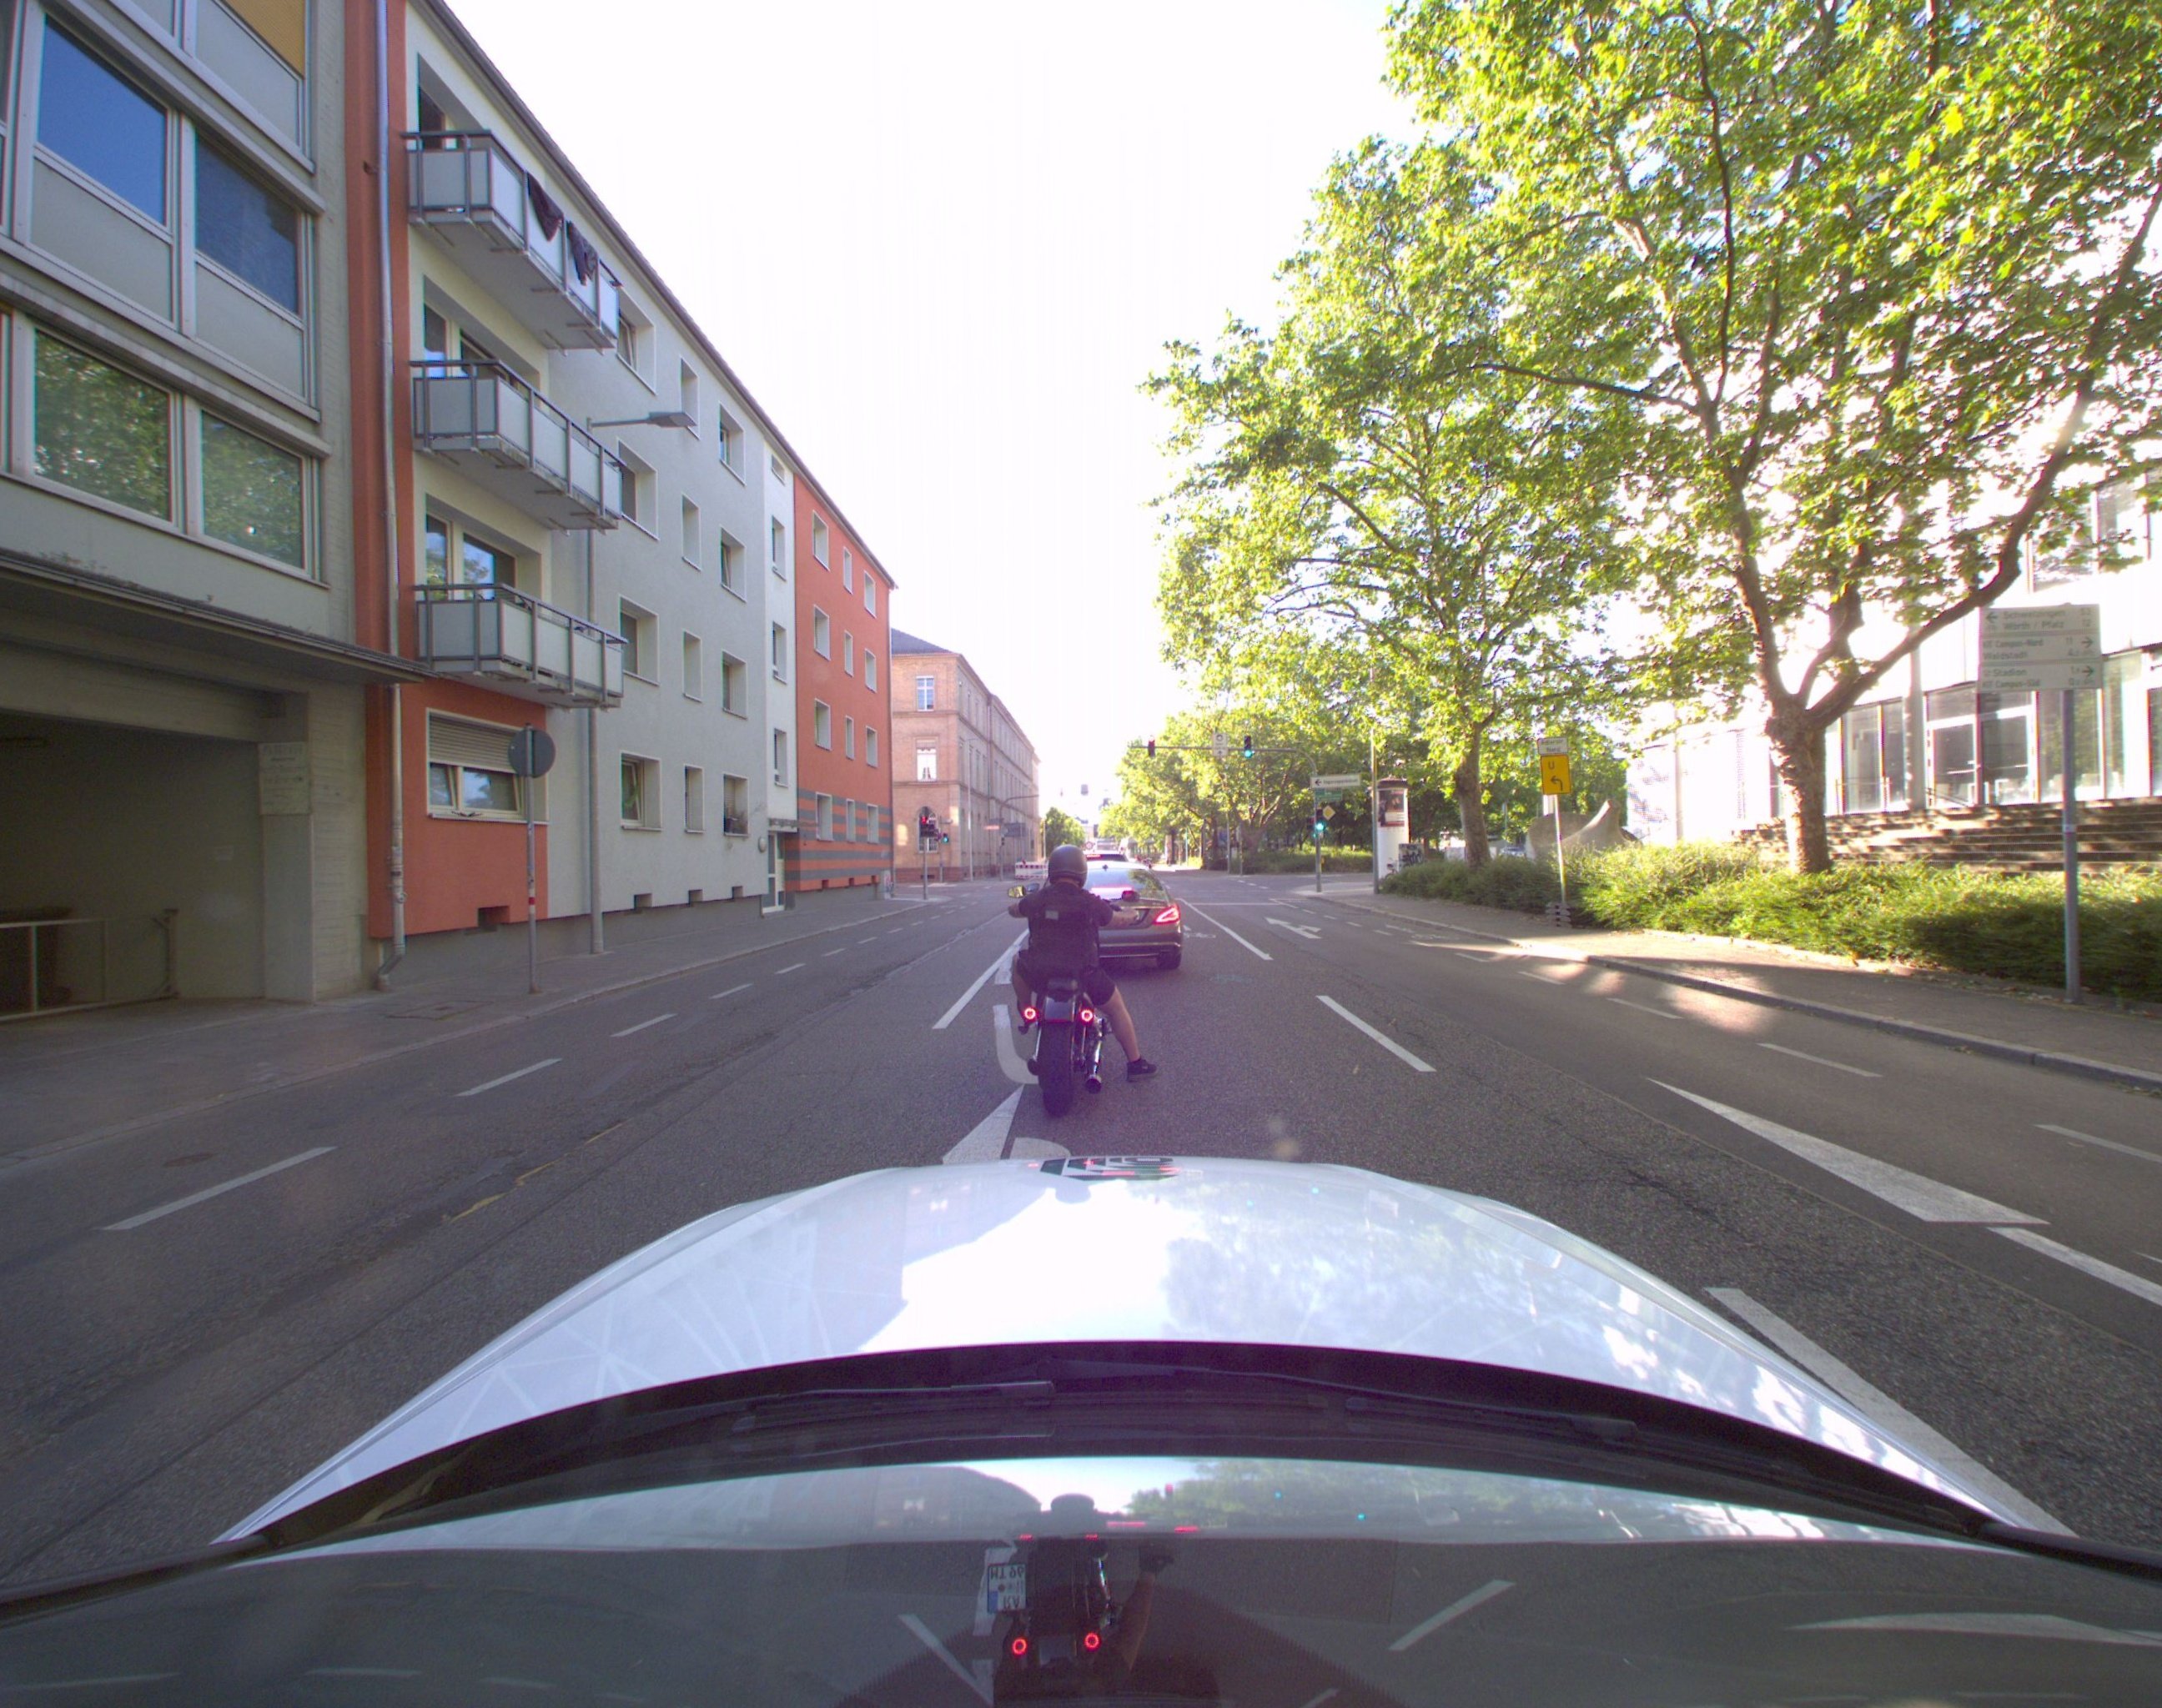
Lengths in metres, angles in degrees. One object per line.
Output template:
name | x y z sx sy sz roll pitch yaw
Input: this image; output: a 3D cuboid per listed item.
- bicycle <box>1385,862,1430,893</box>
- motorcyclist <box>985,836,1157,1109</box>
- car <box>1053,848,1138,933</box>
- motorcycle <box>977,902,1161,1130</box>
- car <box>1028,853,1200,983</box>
bicycle | 11.037 0.794 27.529 1.346 1.023 0.363 -1 0 2
motorcyclist | -0.035 0.701 5.527 0.986 1.597 1.404 -1 0 2
car | 0.322 0.708 17.888 1.606 1.607 4.329 -1 0 1
motorcycle | -0.027 0.960 5.680 0.986 1.078 2.453 -1 0 2
car | 0.258 0.744 11.718 1.943 1.473 4.355 -1 0 -5
